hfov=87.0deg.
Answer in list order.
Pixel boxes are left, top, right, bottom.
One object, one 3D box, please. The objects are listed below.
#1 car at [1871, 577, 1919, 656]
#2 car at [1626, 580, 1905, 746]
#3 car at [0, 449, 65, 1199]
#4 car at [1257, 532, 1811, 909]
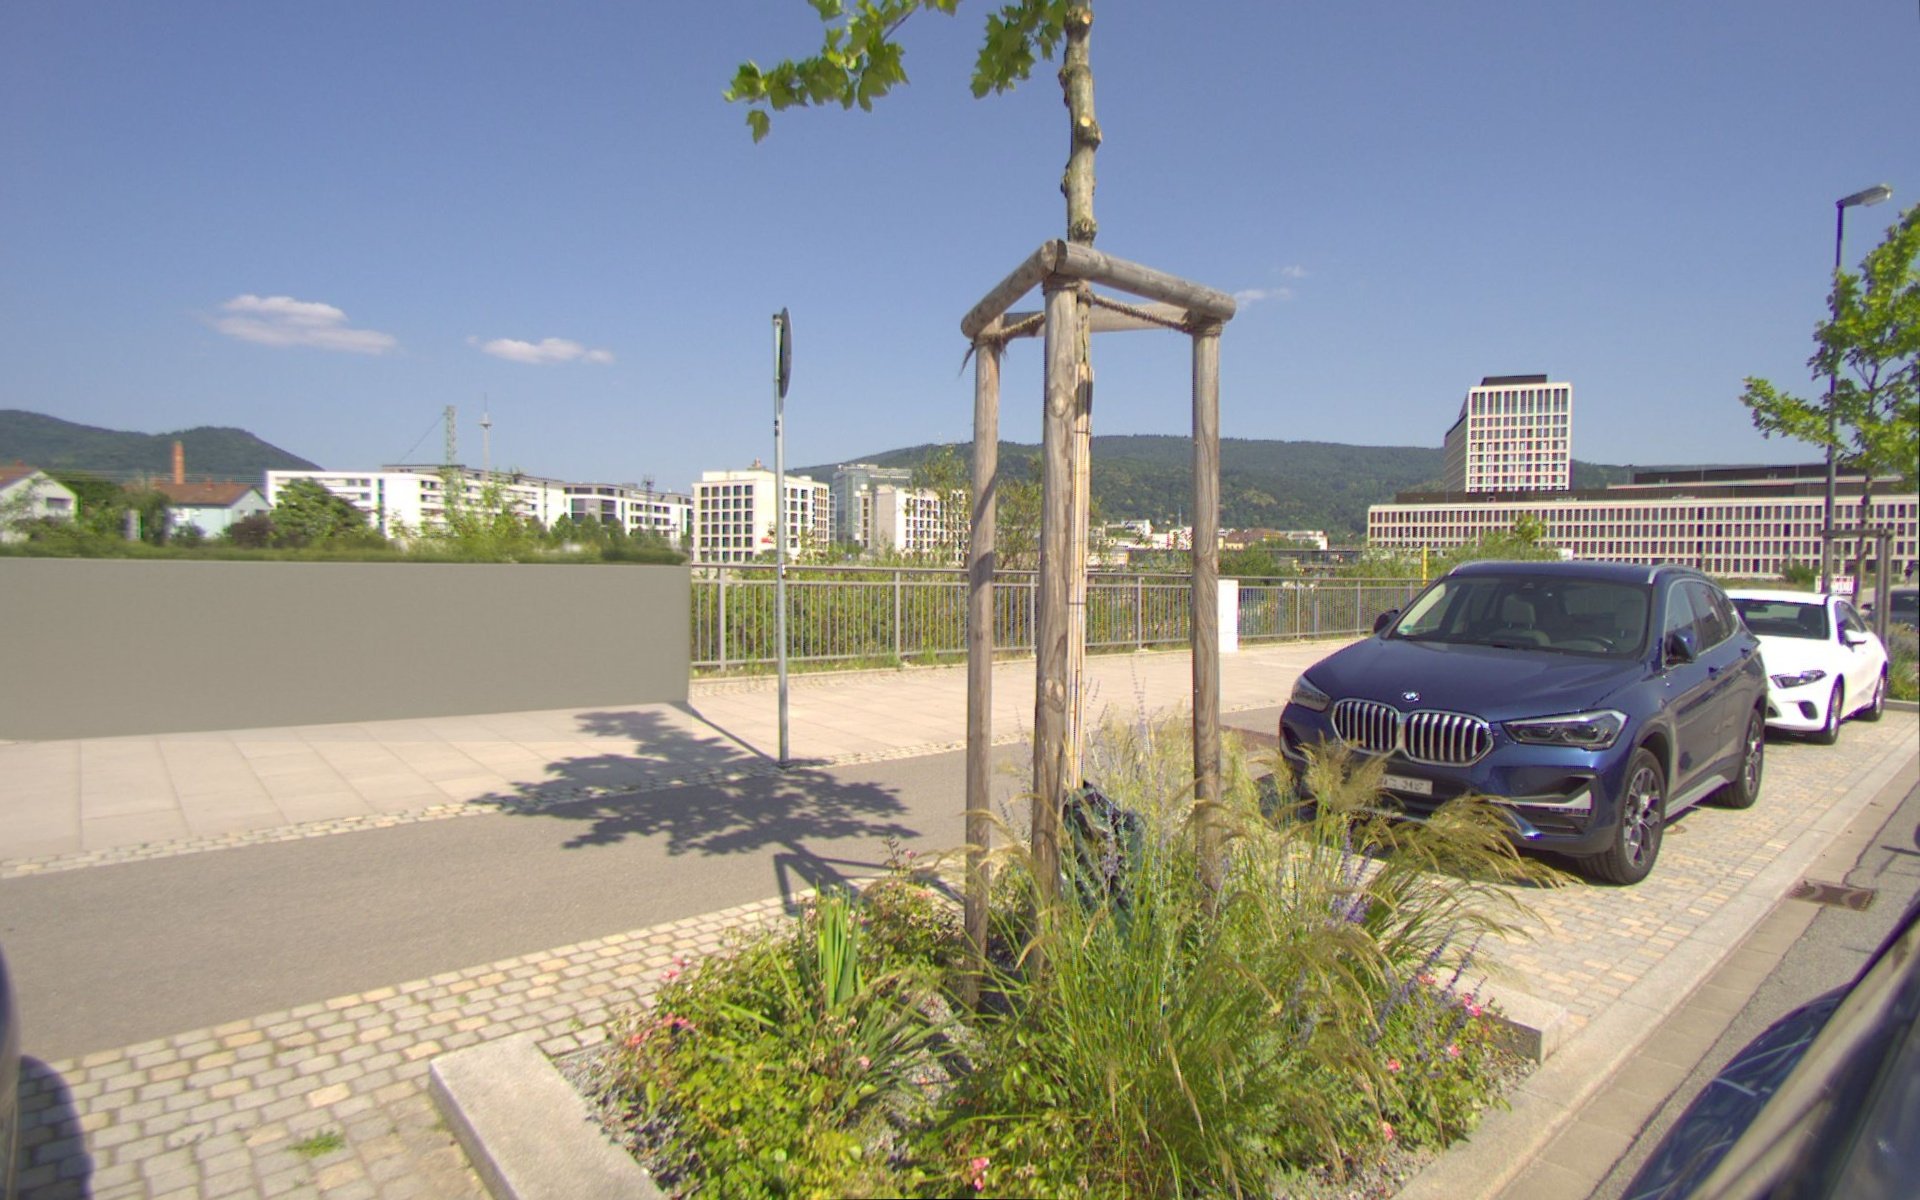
[{"bbox_3d":[20.412,0.299,21.076,3.930,1.558,1.663,-1,0,-41],"label":"car"},{"bbox_3d":[8.765,0.538,10.903,3.930,1.473,1.663,-1,0,-41],"label":"car"},{"bbox_3d":[-2.975,0.546,0.373,3.931,1.444,1.664,-1,3,-41],"label":"car"},{"bbox_3d":[3.819,0.495,6.407,4.164,1.627,1.768,-1,0,-41],"label":"car"}]
